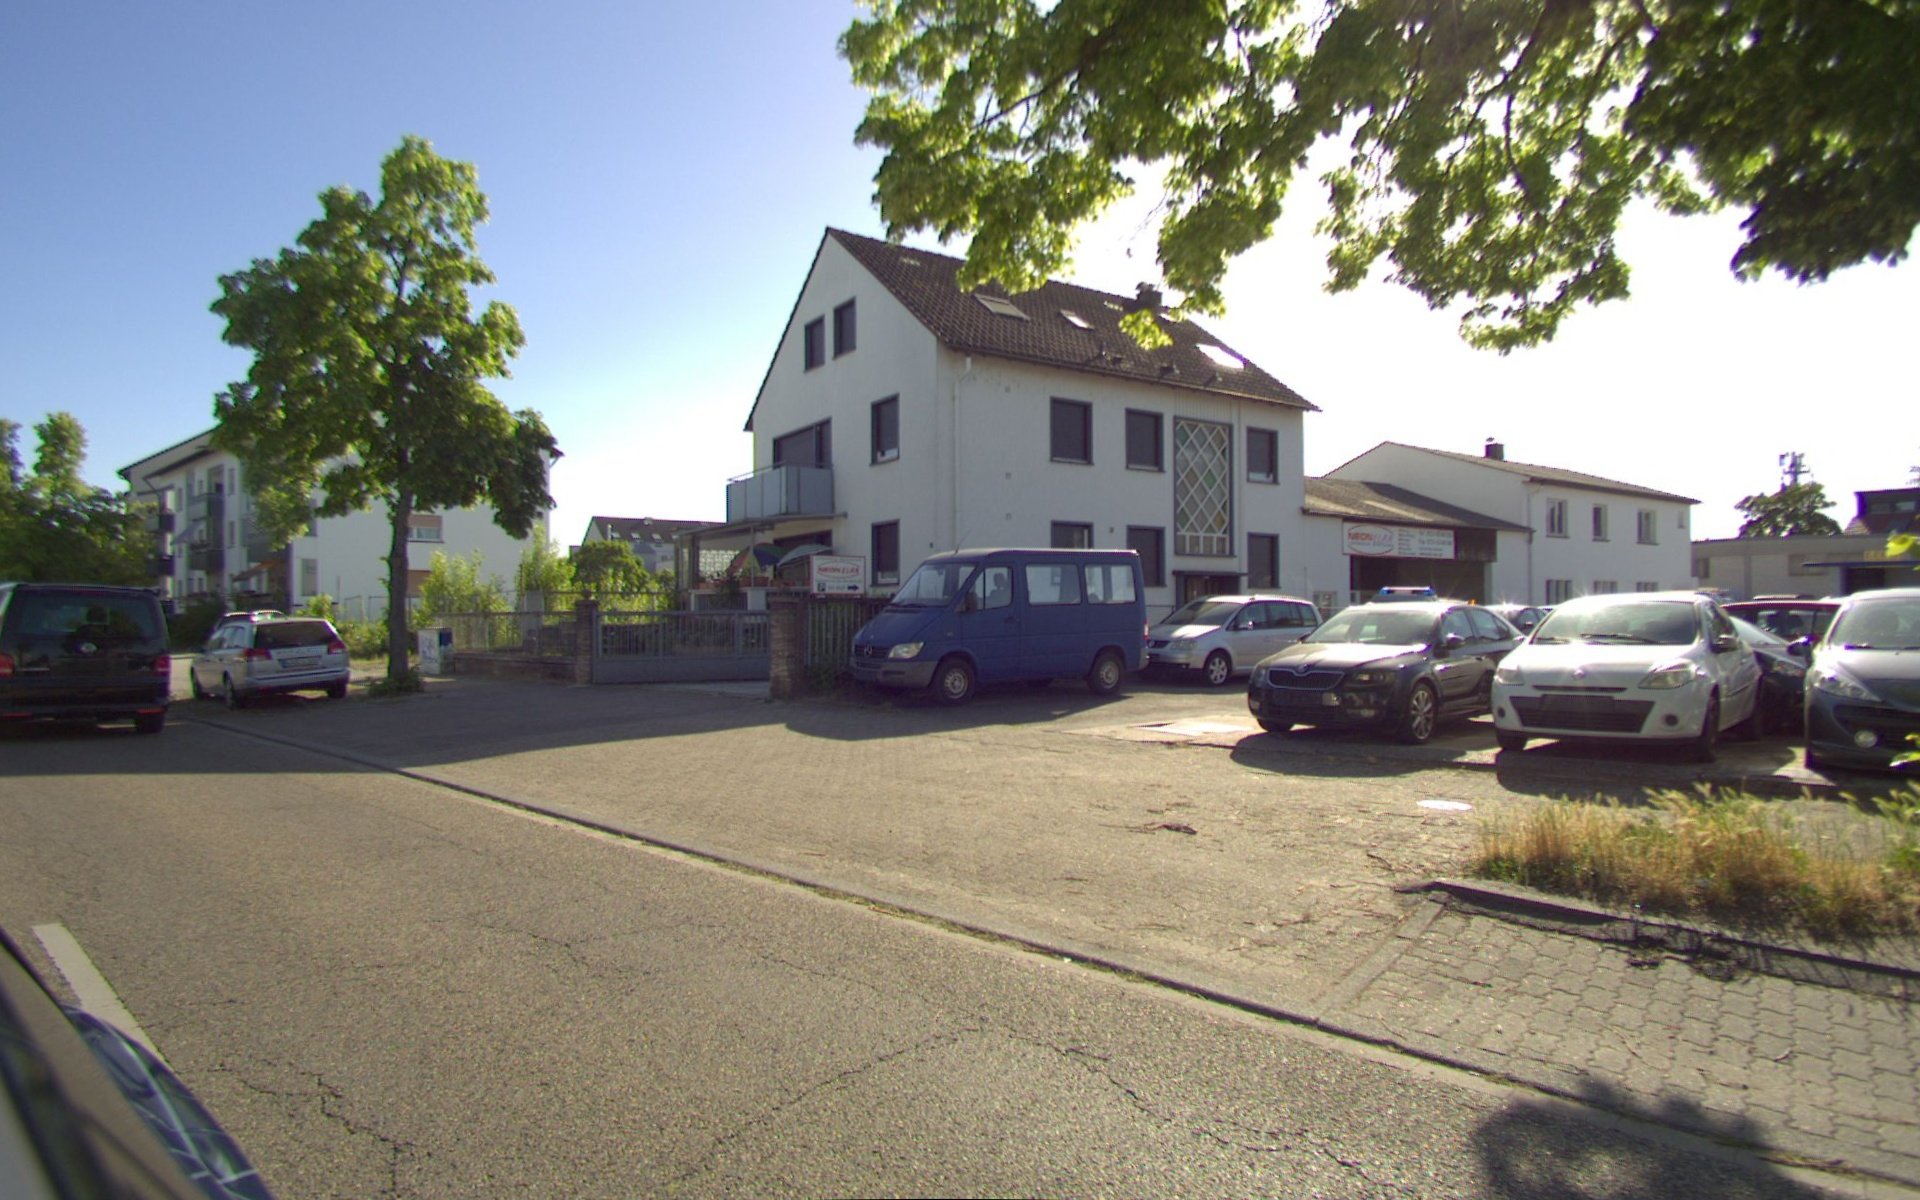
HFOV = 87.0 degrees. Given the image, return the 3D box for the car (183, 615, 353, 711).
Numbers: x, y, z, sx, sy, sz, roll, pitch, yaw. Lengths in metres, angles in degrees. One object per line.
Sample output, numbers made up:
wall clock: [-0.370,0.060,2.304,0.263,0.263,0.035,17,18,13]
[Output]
car: [-12.564,1.064,18.273,4.209,1.446,1.668,-2,1,44]

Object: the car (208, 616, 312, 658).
car: [-27.643,1.417,40.134,1.589,1.525,4.396,-1,-1,-8]

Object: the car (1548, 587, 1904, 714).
car: [11.299,0.687,15.138,1.644,1.631,4.005,0,-1,-42]

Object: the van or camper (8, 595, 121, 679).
van or camper: [-29.214,1.183,32.937,5.553,2.509,2.100,-2,-2,41]

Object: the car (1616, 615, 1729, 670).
car: [20.923,1.205,29.688,3.812,1.487,1.506,0,-1,-35]

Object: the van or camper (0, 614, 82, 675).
van or camper: [-33.424,1.573,36.693,4.278,2.029,1.858,-2,1,42]

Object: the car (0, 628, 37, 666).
car: [-38.868,1.906,41.235,4.314,1.446,1.591,-2,0,44]

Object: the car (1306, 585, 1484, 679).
car: [9.419,0.641,21.821,3.988,1.849,1.683,0,-1,-35]

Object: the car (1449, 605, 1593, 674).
car: [13.822,0.926,24.872,3.988,1.556,1.506,0,-1,-35]

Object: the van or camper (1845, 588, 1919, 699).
van or camper: [16.803,0.680,15.993,1.676,1.787,4.006,0,-1,-40]

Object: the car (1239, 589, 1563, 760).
car: [5.036,0.677,11.273,4.198,1.553,1.768,0,-1,-43]

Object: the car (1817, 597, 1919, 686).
car: [17.883,0.712,17.825,1.676,1.567,4.006,0,-1,-40]

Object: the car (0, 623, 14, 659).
car: [-44.038,1.872,45.703,3.908,1.577,1.674,-2,2,44]

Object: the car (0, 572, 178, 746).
car: [-12.657,0.761,14.135,4.816,2.047,1.874,-1,-3,42]

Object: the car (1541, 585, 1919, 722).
car: [10.127,0.633,13.298,1.644,1.528,4.005,0,-1,-42]

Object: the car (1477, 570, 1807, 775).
car: [6.725,0.604,9.787,4.199,1.554,1.767,1,-3,-44]

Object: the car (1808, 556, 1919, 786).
car: [8.243,0.475,8.423,1.764,1.597,4.205,-2,-1,40]

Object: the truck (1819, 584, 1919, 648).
truck: [35.287,0.600,39.195,5.955,2.301,1.632,0,-1,-35]

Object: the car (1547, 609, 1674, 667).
car: [17.672,0.990,27.445,3.988,1.443,1.506,0,-1,-35]

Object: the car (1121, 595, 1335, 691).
car: [5.004,0.736,18.691,3.929,1.591,1.683,1,0,-35]

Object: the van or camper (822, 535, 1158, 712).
van or camper: [0.549,0.300,15.661,4.828,2.337,2.249,0,0,-36]
